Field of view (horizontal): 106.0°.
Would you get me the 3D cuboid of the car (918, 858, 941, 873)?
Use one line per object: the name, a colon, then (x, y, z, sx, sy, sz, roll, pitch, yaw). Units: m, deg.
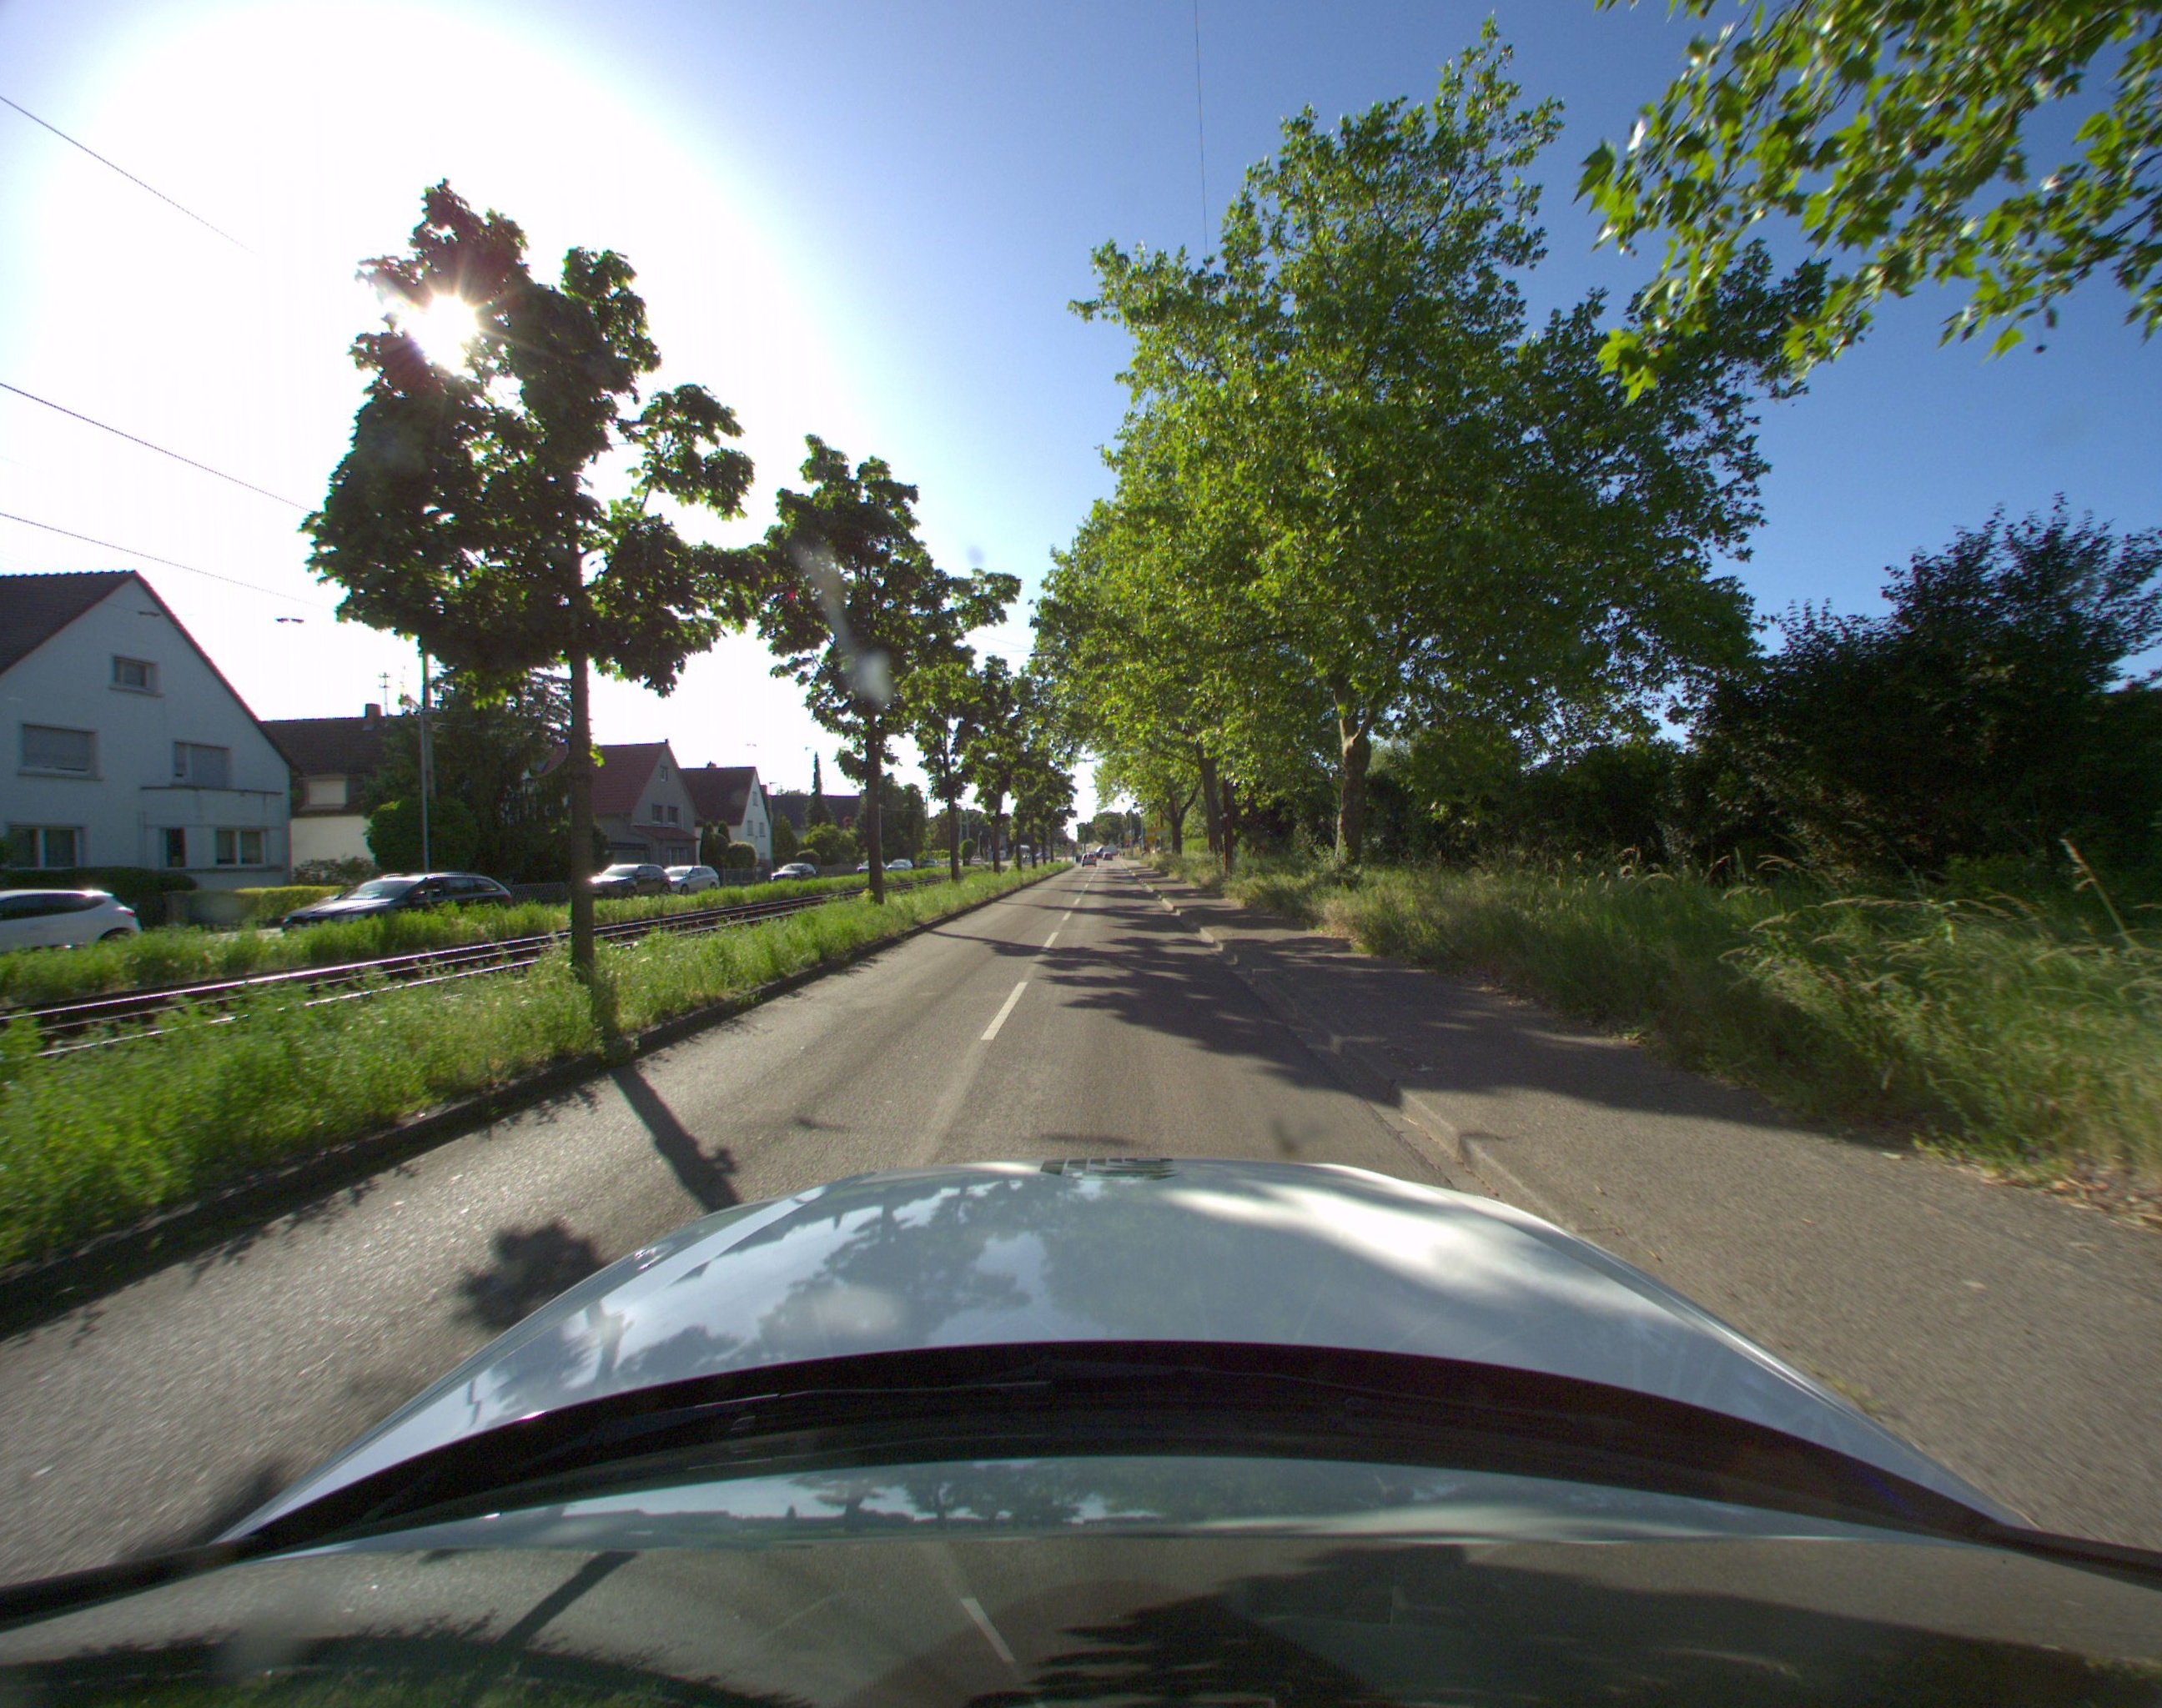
car: (-18.169, 1.411, 97.931, 1.771, 1.707, 4.229, -1, 0, 1)

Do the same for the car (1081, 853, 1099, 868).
car: (0.987, 0.746, 89.758, 1.853, 1.601, 4.229, -1, 0, 1)

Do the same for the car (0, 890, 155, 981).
car: (-20.540, 1.548, 15.087, 1.853, 1.542, 4.229, -1, 0, 1)

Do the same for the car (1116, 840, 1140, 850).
car: (10.951, -2.191, 190.821, 5.169, 2.275, 1.986, -1, 0, -23)

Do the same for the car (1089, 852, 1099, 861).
car: (2.530, 0.487, 157.947, 1.986, 1.603, 4.475, -1, 0, 1)

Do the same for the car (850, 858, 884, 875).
car: (-19.095, 1.114, 72.842, 1.853, 1.413, 4.160, -1, 0, 1)

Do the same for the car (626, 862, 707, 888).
car: (-25.108, 1.283, 49.407, 3.904, 1.452, 1.889, 0, 1, 1)

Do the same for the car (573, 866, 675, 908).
car: (-19.679, 1.375, 35.334, 1.741, 1.650, 4.557, -1, 0, 2)

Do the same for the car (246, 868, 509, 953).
car: (-15.516, 1.153, 18.402, 1.654, 1.552, 4.812, -1, 0, 2)

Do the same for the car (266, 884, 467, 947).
car: (-20.660, 1.711, 23.875, 1.723, 1.466, 4.604, -1, 0, 2)

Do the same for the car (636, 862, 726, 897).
car: (-19.819, 1.230, 40.602, 1.986, 1.545, 4.783, -1, 0, 2)

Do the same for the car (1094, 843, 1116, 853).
car: (5.846, -1.420, 198.258, 5.269, 2.354, 1.851, -1, 0, -25)

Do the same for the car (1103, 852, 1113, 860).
car: (5.052, 0.374, 152.703, 1.785, 1.559, 4.229, -1, 0, 1)

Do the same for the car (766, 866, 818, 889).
car: (-19.308, 1.547, 54.648, 1.853, 1.369, 4.229, -1, 0, 1)

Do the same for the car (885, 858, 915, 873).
car: (-18.374, 1.157, 82.869, 1.853, 1.431, 4.463, -1, 0, 1)
